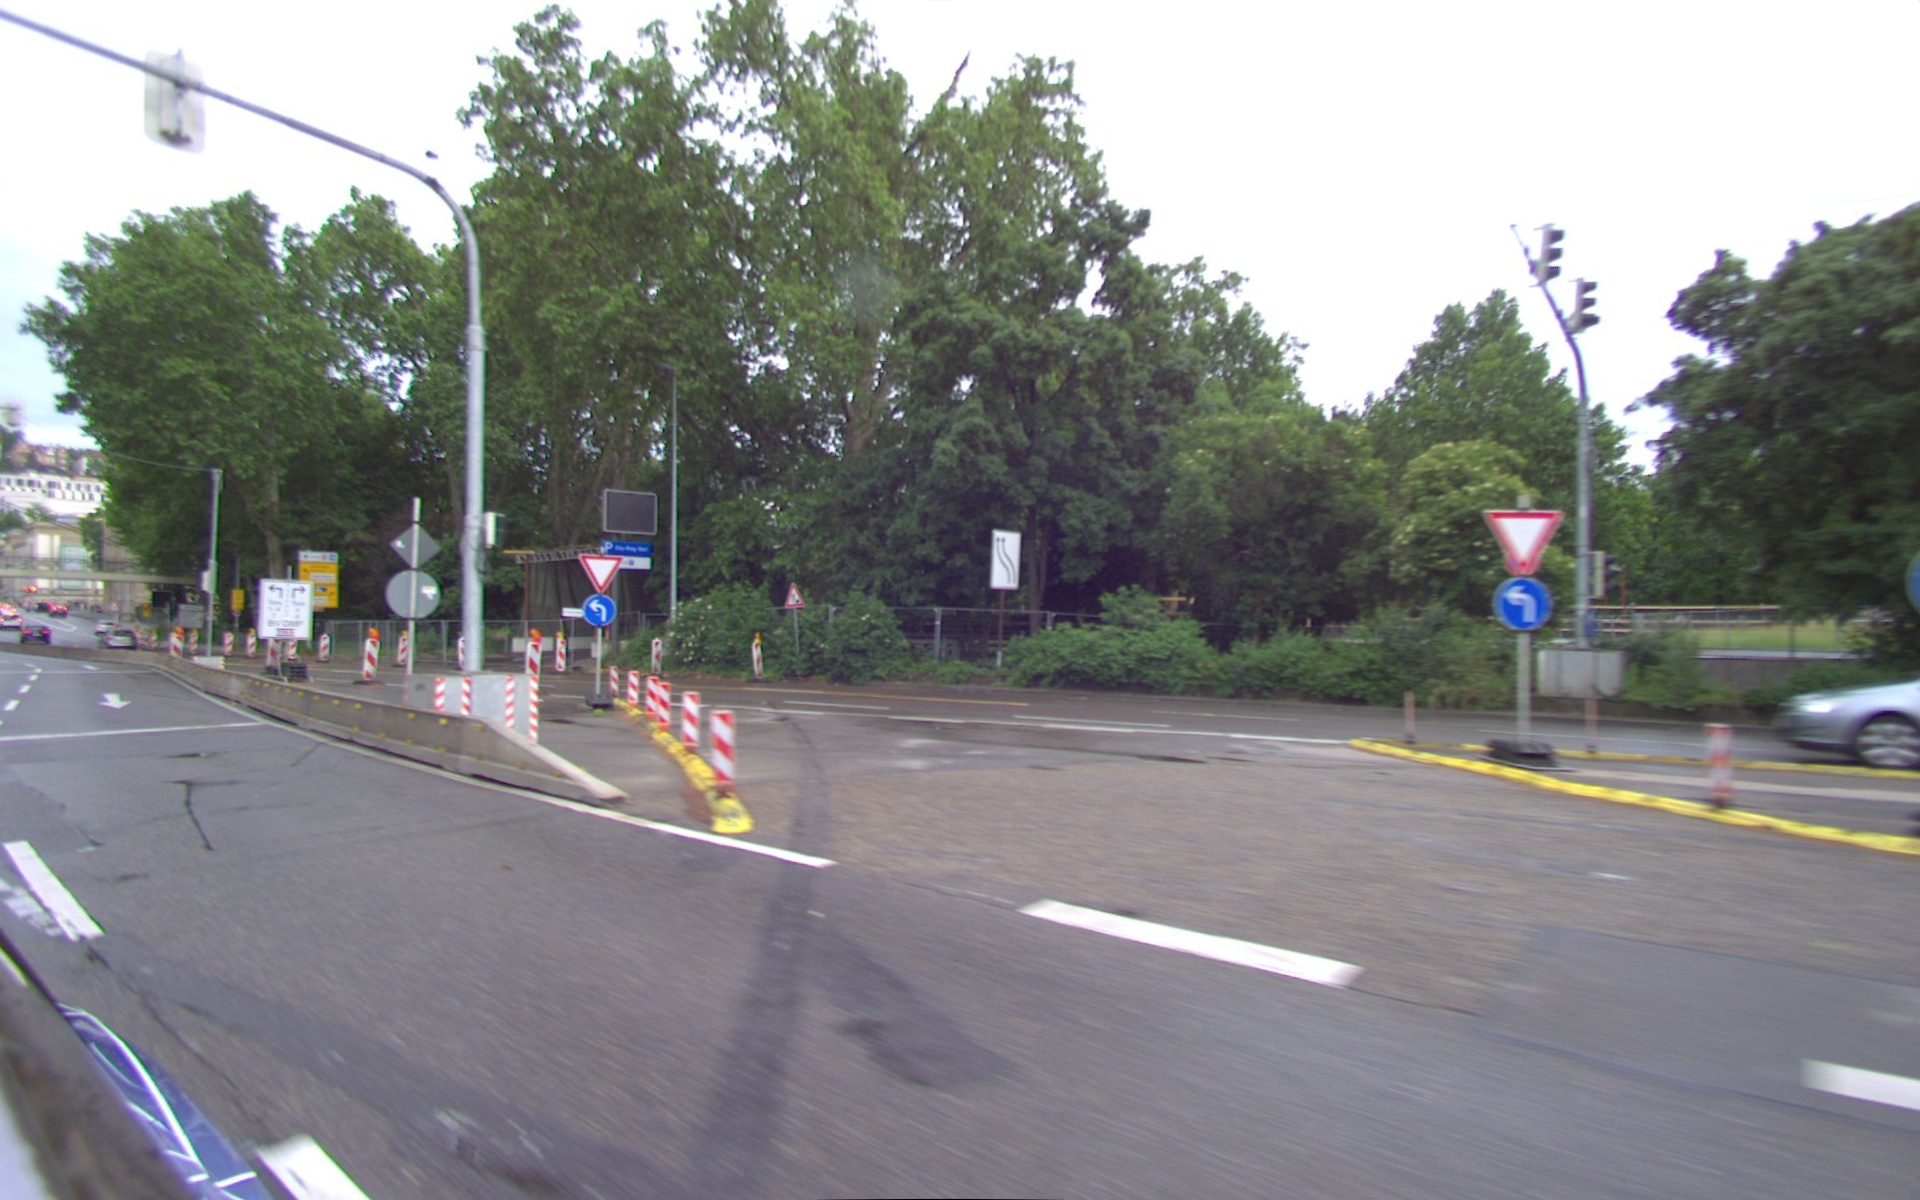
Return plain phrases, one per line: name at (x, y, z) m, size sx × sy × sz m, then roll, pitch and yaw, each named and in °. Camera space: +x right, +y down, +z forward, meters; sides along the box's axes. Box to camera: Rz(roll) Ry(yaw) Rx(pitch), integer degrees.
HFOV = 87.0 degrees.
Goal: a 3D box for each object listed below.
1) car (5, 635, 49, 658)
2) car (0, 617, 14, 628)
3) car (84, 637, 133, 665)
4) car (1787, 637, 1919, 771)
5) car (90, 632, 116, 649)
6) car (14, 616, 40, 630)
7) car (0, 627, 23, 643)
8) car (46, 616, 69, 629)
car at (-72.526, 3.583, 78.667) m, size 4.578 × 1.552 × 1.972 m, roll 1°, pitch -2°, yaw 41°
car at (-133.350, 3.112, 140.641) m, size 4.205 × 1.393 × 1.975 m, roll 2°, pitch -2°, yaw 37°
car at (-55.490, 3.321, 65.935) m, size 1.971 × 1.552 × 4.448 m, roll 5°, pitch -2°, yaw -45°
car at (12.048, 1.205, 11.314) m, size 4.167 × 1.474 × 1.750 m, roll -1°, pitch -5°, yaw 35°
car at (-86.771, 4.106, 102.444) m, size 1.846 × 1.552 × 4.097 m, roll 4°, pitch -2°, yaw -41°
car at (-145.397, 3.546, 157.695) m, size 3.990 × 2.029 × 1.977 m, roll 2°, pitch -2°, yaw 34°
car at (-102.161, 3.726, 108.652) m, size 2.007 × 1.666 × 4.914 m, roll 5°, pitch -4°, yaw -44°
car at (-129.397, 3.218, 145.145) m, size 4.318 × 1.666 × 2.009 m, roll -2°, pitch -4°, yaw 43°
